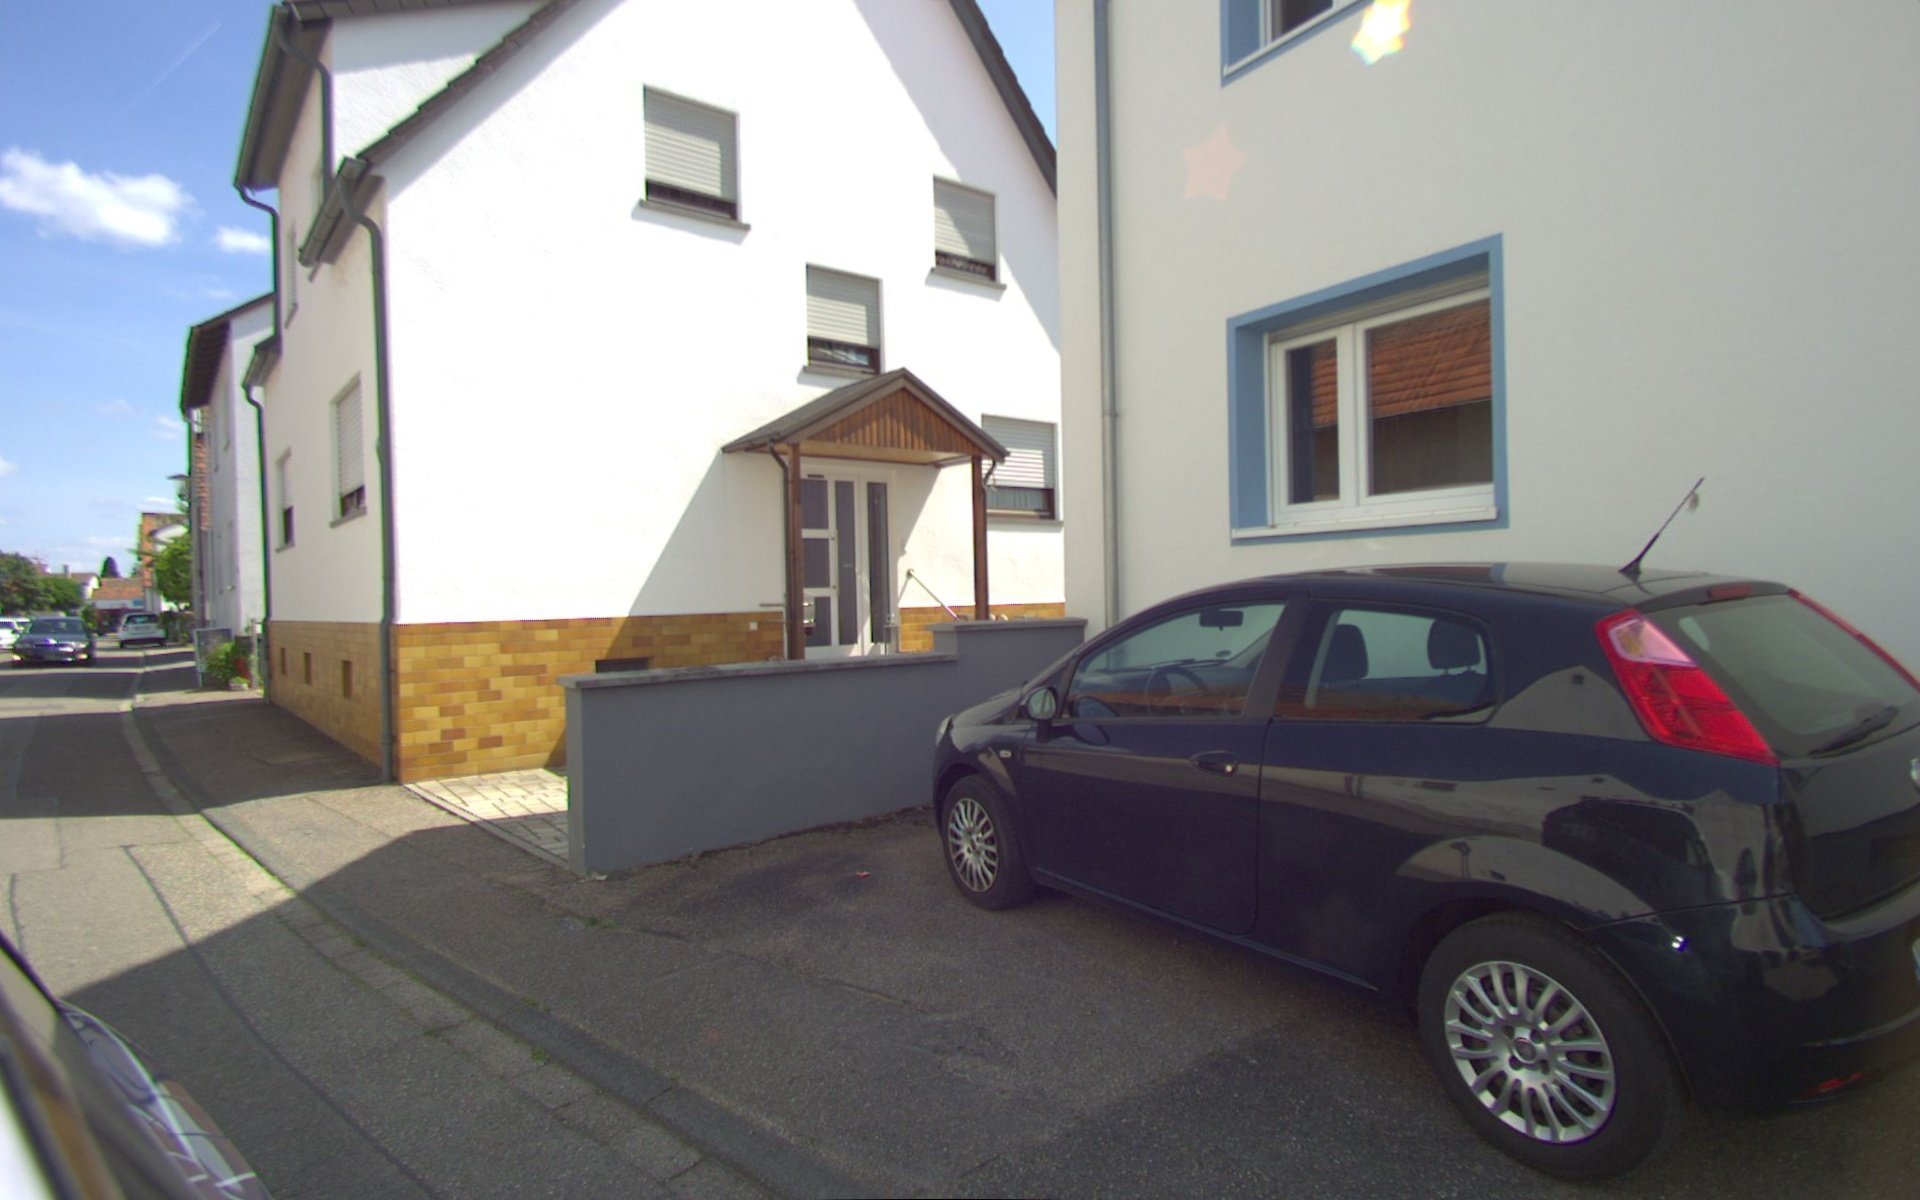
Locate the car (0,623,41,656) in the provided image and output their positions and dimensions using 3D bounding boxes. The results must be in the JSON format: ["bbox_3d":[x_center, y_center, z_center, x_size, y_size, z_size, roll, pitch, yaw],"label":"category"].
[{"bbox_3d":[-50.327,2.094,53.908,1.758,1.511,4.046,-5,3,-39],"label":"car"}]

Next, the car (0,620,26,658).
[{"bbox_3d":[-42.290,1.729,44.280,1.758,1.511,4.046,-5,3,-39],"label":"car"}]

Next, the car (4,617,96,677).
[{"bbox_3d":[-26.712,1.320,29.837,1.758,1.547,4.718,-1,0,-39],"label":"car"}]

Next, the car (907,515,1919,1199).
[{"bbox_3d":[1.470,0.583,3.753,1.615,1.466,3.797,-2,0,-33],"label":"car"}]

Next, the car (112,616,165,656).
[{"bbox_3d":[-38.029,1.604,46.875,1.758,1.621,4.007,-5,3,-39],"label":"car"}]
